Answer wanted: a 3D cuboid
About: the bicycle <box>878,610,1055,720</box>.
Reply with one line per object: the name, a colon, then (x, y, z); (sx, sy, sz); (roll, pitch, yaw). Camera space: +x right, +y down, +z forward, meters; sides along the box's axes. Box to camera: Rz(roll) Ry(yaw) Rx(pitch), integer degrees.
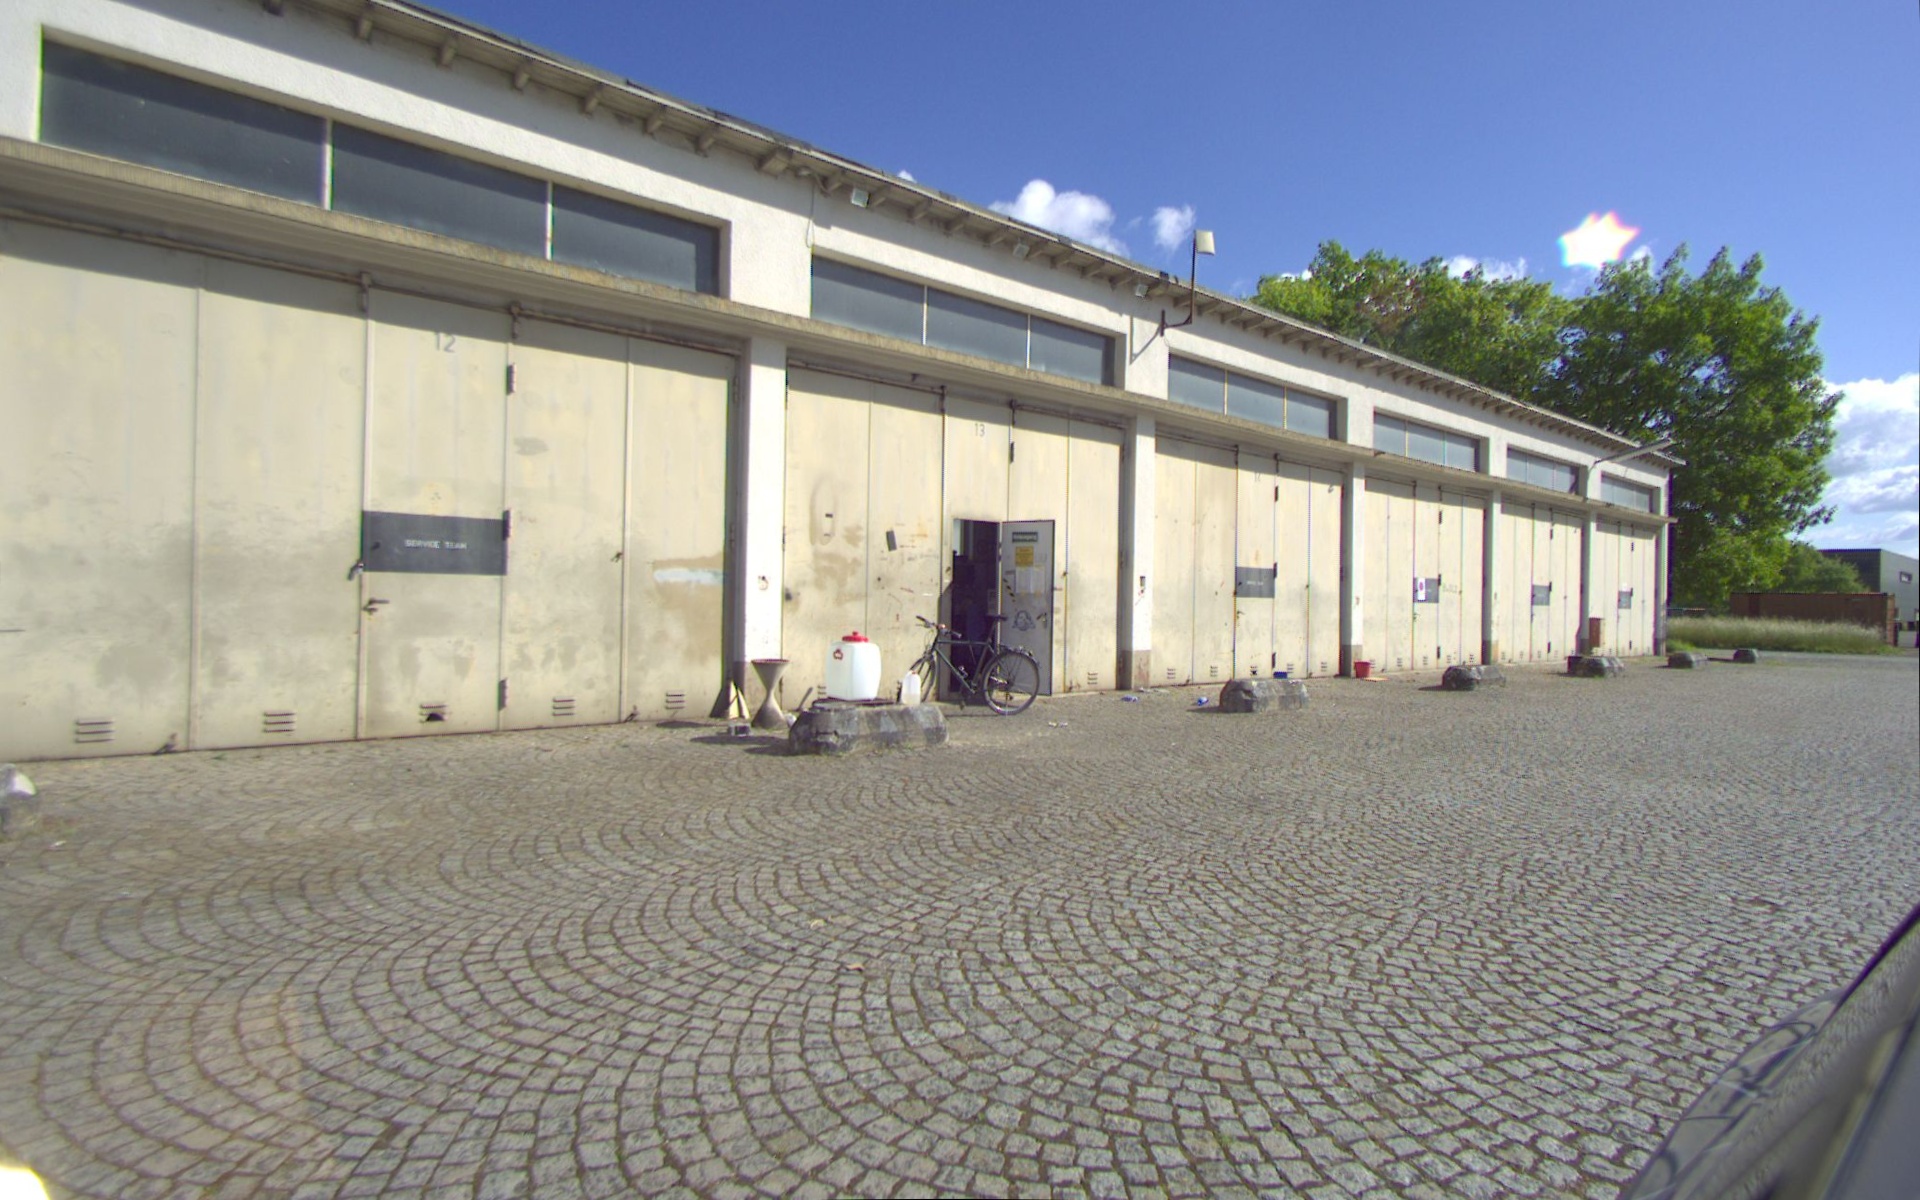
bicycle: (0.080, 0.650, 10.743); (1.787, 1.081, 0.667); (0, -1, -28)
